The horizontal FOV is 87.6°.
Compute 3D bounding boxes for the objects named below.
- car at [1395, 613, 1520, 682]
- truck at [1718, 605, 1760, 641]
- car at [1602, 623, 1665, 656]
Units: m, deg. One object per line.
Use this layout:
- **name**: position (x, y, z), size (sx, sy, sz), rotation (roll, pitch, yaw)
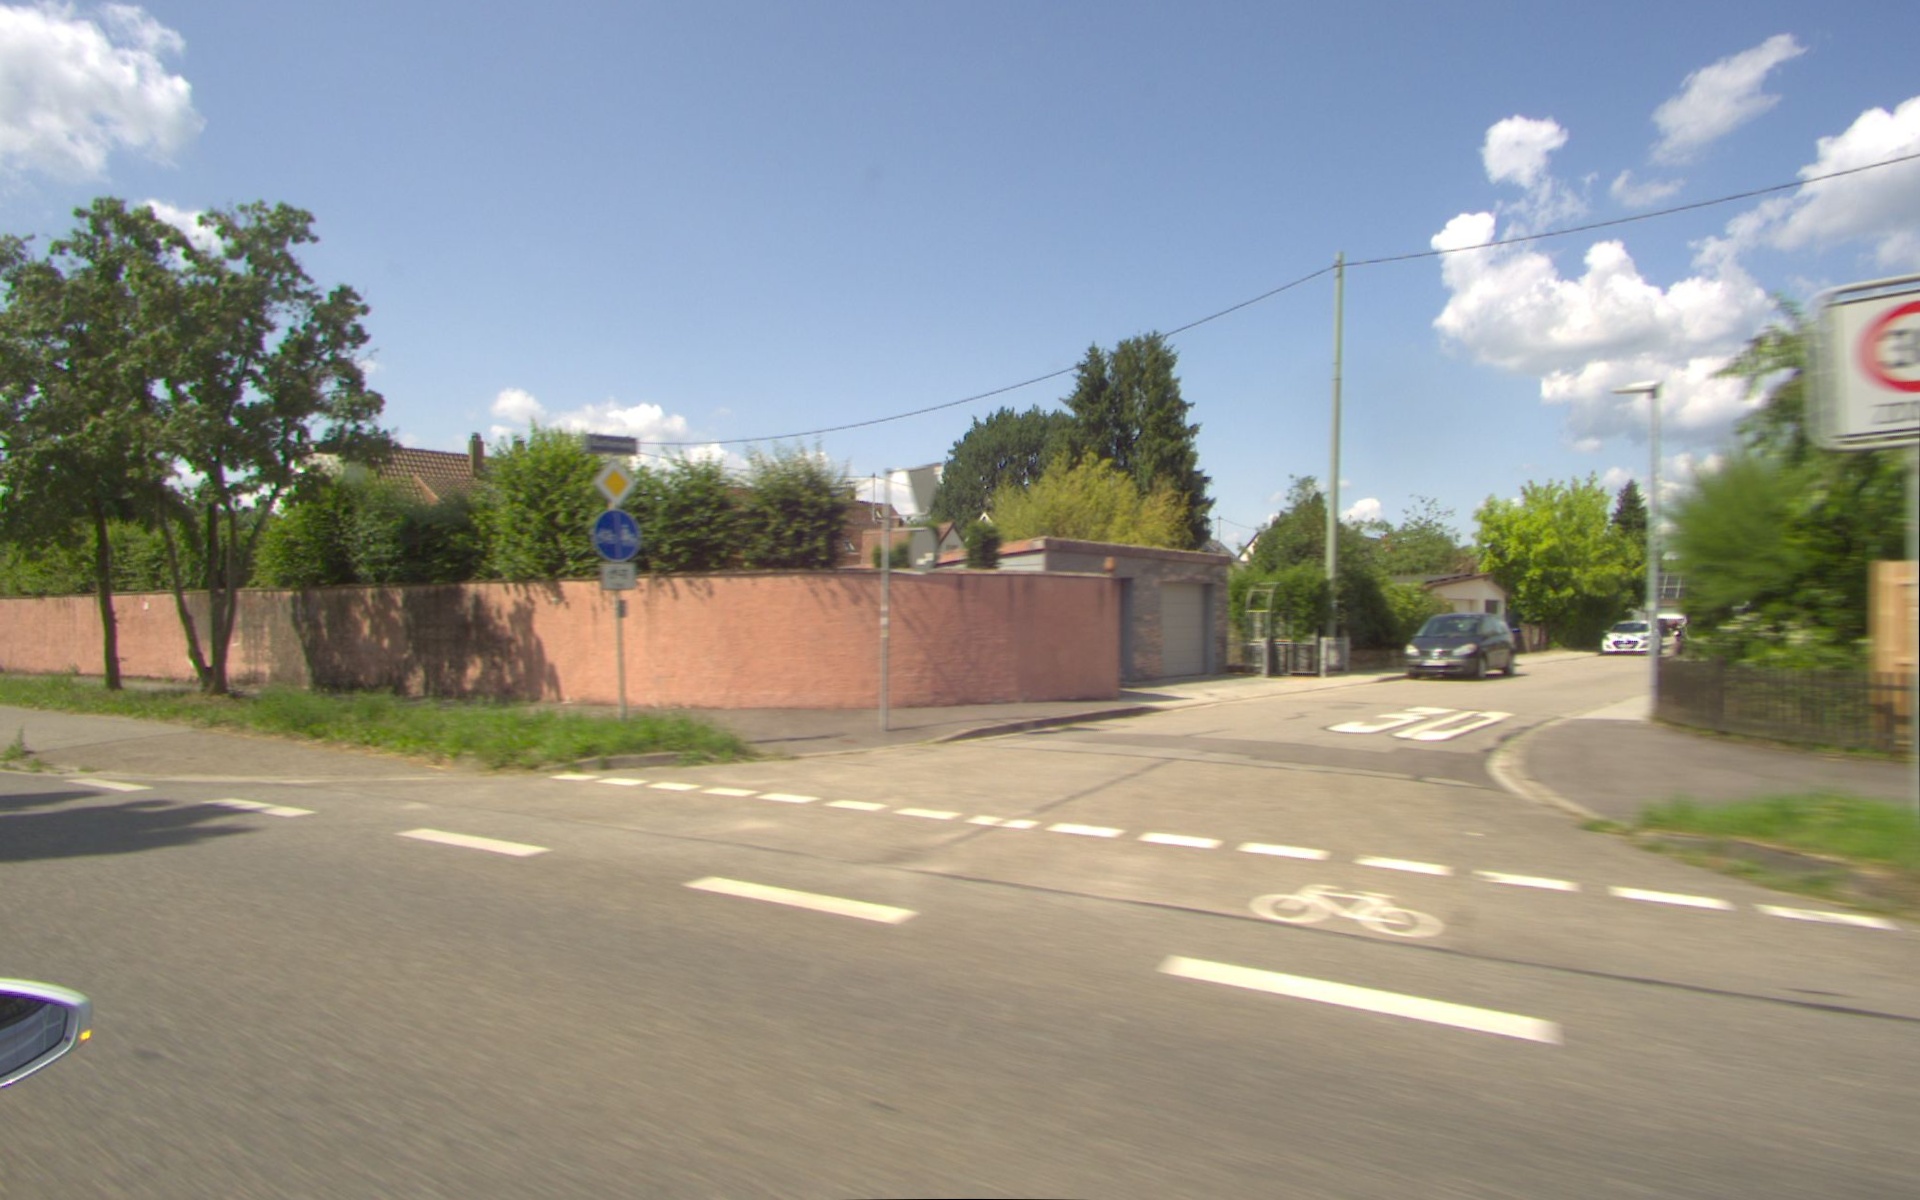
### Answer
- **car**: position (12.438, 1.130, 24.932), size (1.703, 1.588, 4.243), rotation (-1, -1, 42)
- **truck**: position (59.989, 1.793, 77.116), size (2.254, 2.682, 4.812), rotation (-1, -1, 42)
- **car**: position (29.162, 1.676, 43.322), size (1.703, 1.391, 4.022), rotation (-1, -1, 42)
